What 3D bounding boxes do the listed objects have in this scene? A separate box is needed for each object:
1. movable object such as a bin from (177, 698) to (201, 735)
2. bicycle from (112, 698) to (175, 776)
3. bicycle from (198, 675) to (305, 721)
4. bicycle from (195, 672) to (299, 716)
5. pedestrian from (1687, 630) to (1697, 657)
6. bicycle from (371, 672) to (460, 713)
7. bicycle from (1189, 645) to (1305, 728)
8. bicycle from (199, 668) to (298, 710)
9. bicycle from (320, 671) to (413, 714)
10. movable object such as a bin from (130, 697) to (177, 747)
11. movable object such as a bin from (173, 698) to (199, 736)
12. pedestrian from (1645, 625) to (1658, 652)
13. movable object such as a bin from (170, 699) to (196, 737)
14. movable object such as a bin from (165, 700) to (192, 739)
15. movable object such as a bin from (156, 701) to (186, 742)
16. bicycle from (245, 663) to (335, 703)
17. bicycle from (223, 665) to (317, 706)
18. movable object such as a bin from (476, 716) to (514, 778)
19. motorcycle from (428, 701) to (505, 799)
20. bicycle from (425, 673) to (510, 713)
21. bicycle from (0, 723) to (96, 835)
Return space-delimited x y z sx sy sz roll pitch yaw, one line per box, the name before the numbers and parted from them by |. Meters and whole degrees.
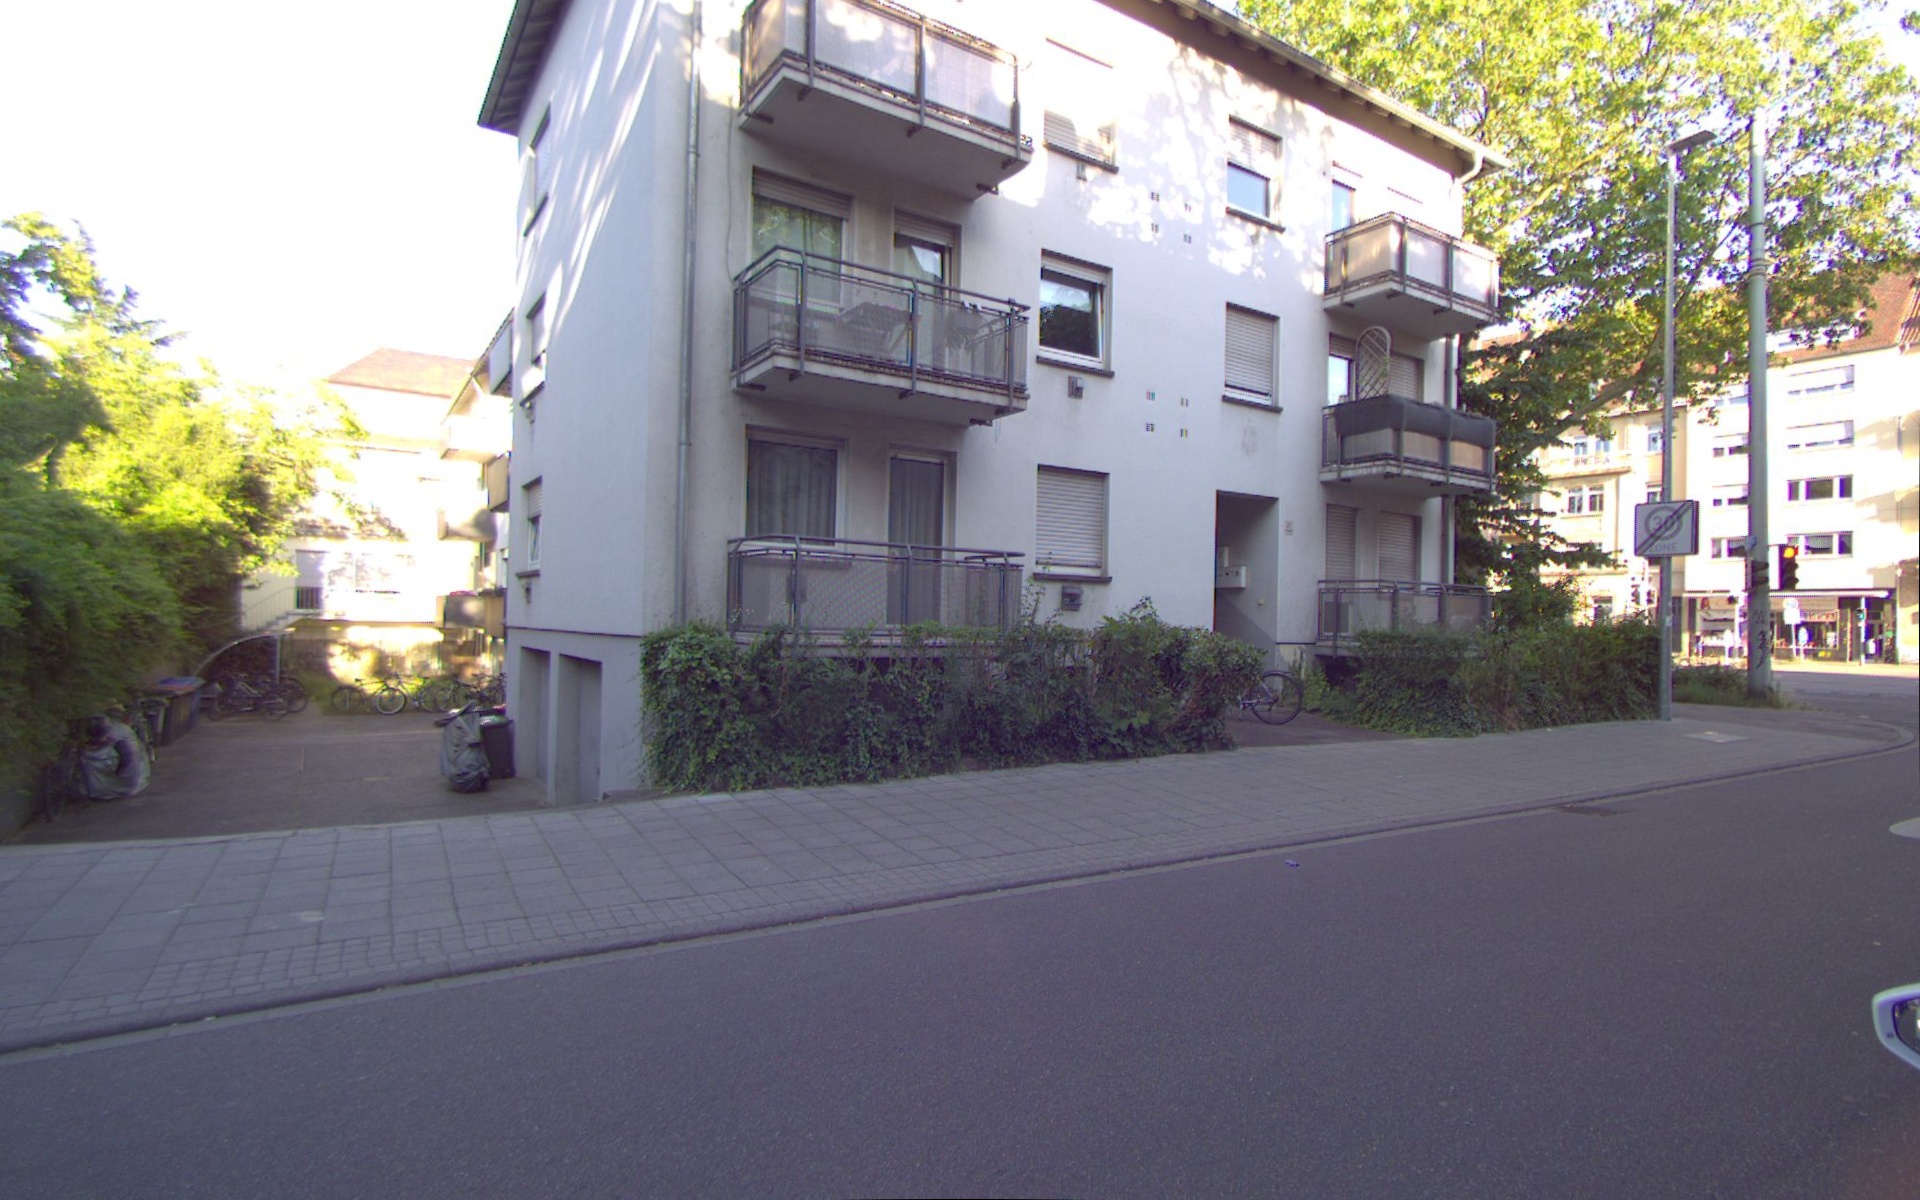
movable object such as a bin | -16.602 2.502 21.629 0.342 0.768 0.361 2 -4 -30
bicycle | -13.218 2.186 16.297 0.509 1.033 1.922 3 -1 -32
bicycle | -17.272 2.398 24.554 2.045 1.034 0.637 4 0 -30
bicycle | -18.024 2.379 25.432 2.045 1.034 0.568 4 0 -30
pedestrian | 42.649 2.543 58.533 0.467 1.531 0.429 0 -1 41
bicycle | -14.721 2.507 27.205 2.045 1.034 0.637 4 0 -30
bicycle | 3.886 1.150 13.617 1.433 0.988 0.407 3 0 21
bicycle | -18.856 2.361 26.659 2.045 1.034 0.611 4 0 -30
bicycle | -15.689 2.456 26.617 2.045 1.034 0.637 4 0 -30
movable object such as a bin | -14.947 2.253 18.625 0.570 0.891 0.491 2 -4 -30
movable object such as a bin | -16.399 2.471 21.288 0.362 0.768 0.361 2 -4 -30
pedestrian | 40.364 2.254 58.661 0.558 1.531 0.499 0 -1 41
movable object such as a bin | -16.206 2.456 20.948 0.362 0.768 0.361 2 -4 -30
movable object such as a bin | -16.019 2.438 20.599 0.371 0.768 0.361 2 -4 -30
movable object such as a bin | -15.627 2.396 19.897 0.393 0.784 0.361 2 -4 -30
bicycle | -19.014 2.366 28.568 2.045 1.034 0.564 4 0 -30
bicycle | -18.991 2.362 27.696 2.045 1.034 0.611 4 0 -30
movable object such as a bin | -7.497 2.360 16.186 0.428 0.899 0.720 1 -2 -34
motorcycle | -7.398 2.196 15.024 0.751 1.268 1.578 1 -2 -36
bicycle | -13.641 2.579 27.838 2.045 1.034 0.637 4 0 -30
bicycle | -10.962 2.102 12.091 0.509 1.033 1.922 3 -1 -32
